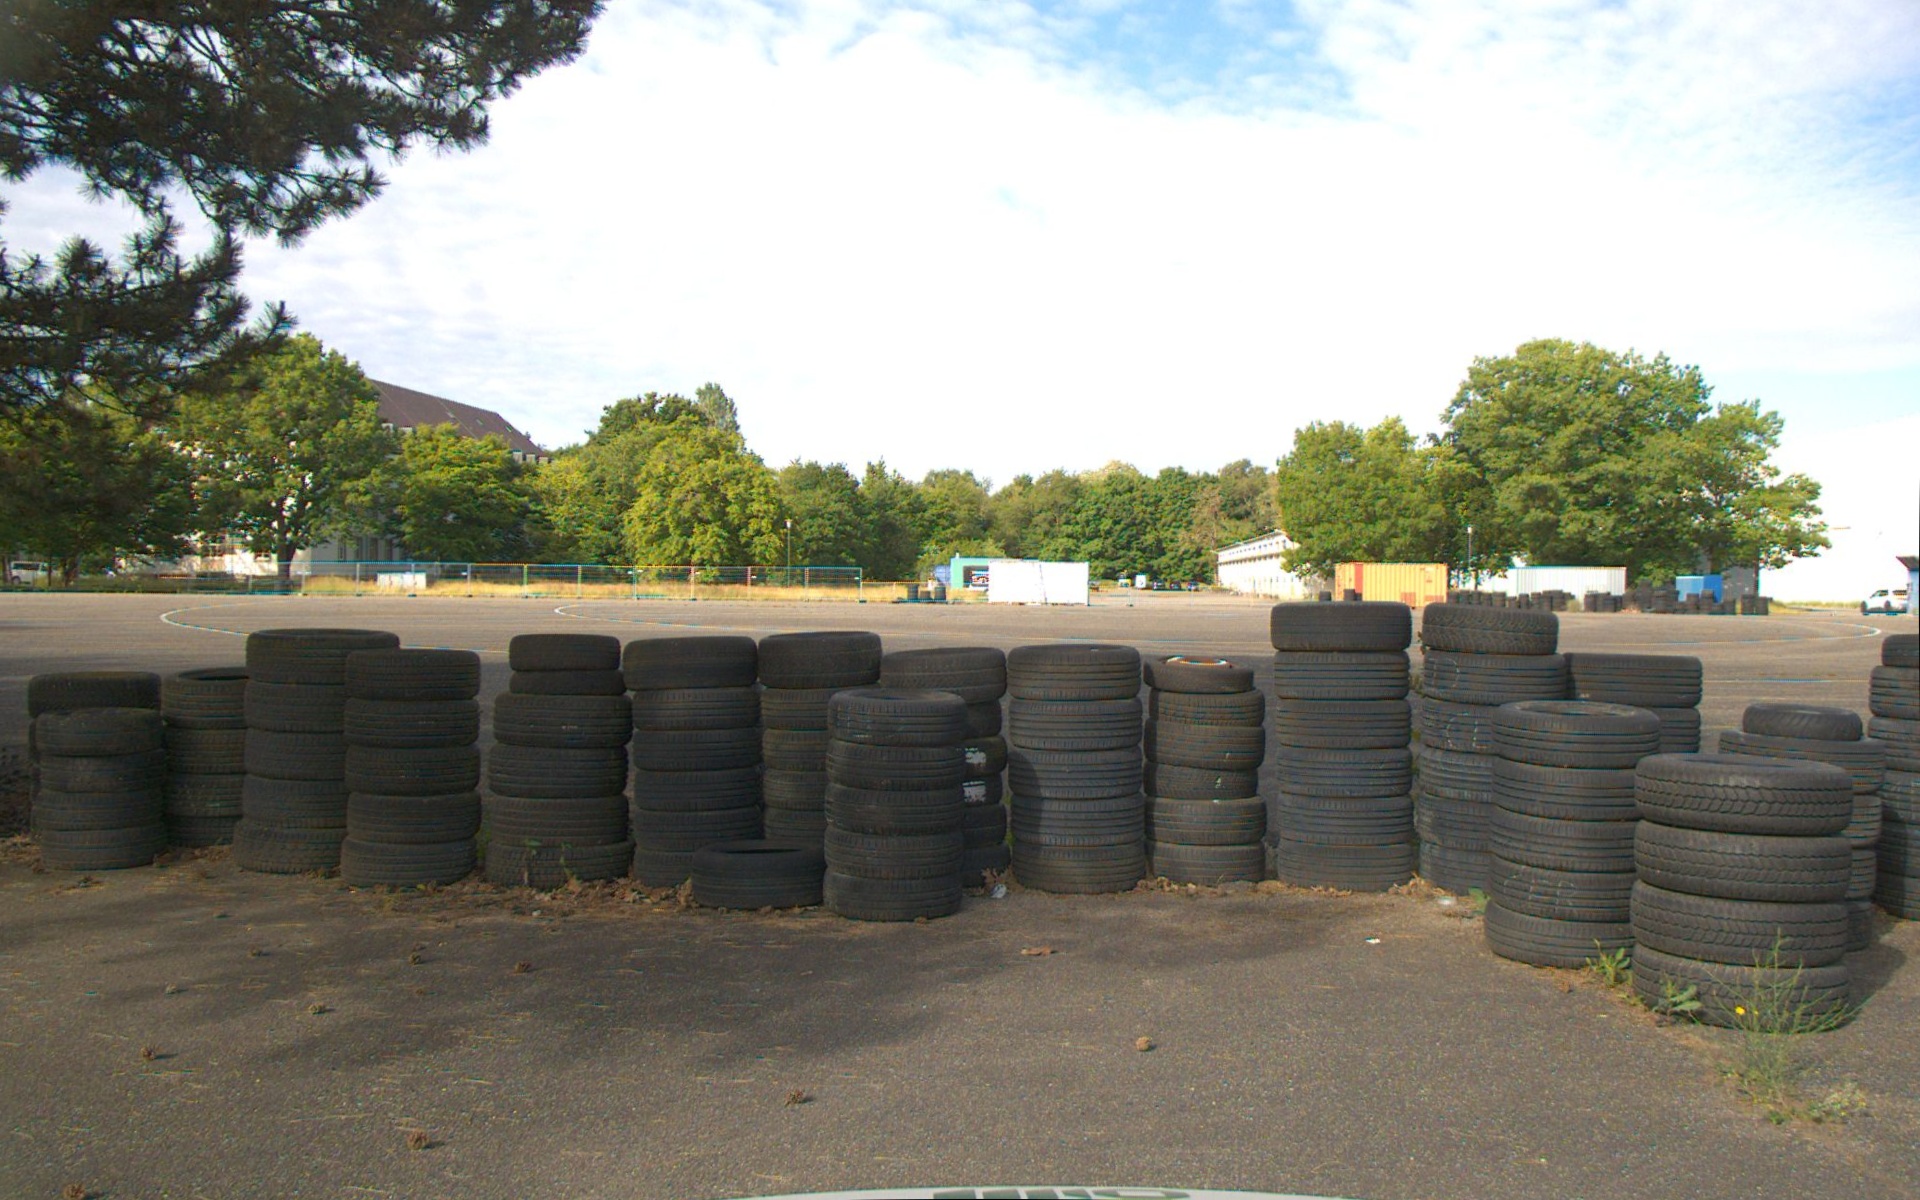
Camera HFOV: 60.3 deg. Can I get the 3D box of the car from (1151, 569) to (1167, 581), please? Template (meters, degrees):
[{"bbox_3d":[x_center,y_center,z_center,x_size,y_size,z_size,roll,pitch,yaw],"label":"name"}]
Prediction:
[{"bbox_3d":[29.511,-3.714,245.191,1.952,1.780,4.002,0,1,2],"label":"car"}]

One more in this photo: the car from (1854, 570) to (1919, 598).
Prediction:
[{"bbox_3d":[54.449,-0.978,96.977,1.830,1.592,4.550,0,1,3],"label":"car"}]

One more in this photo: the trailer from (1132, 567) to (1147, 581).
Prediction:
[{"bbox_3d":[26.851,-3.899,247.051,2.015,2.049,4.002,0,1,4],"label":"trailer"}]

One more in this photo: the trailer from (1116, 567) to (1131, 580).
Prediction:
[{"bbox_3d":[24.557,-3.988,248.579,1.952,2.049,4.002,0,1,3],"label":"trailer"}]
